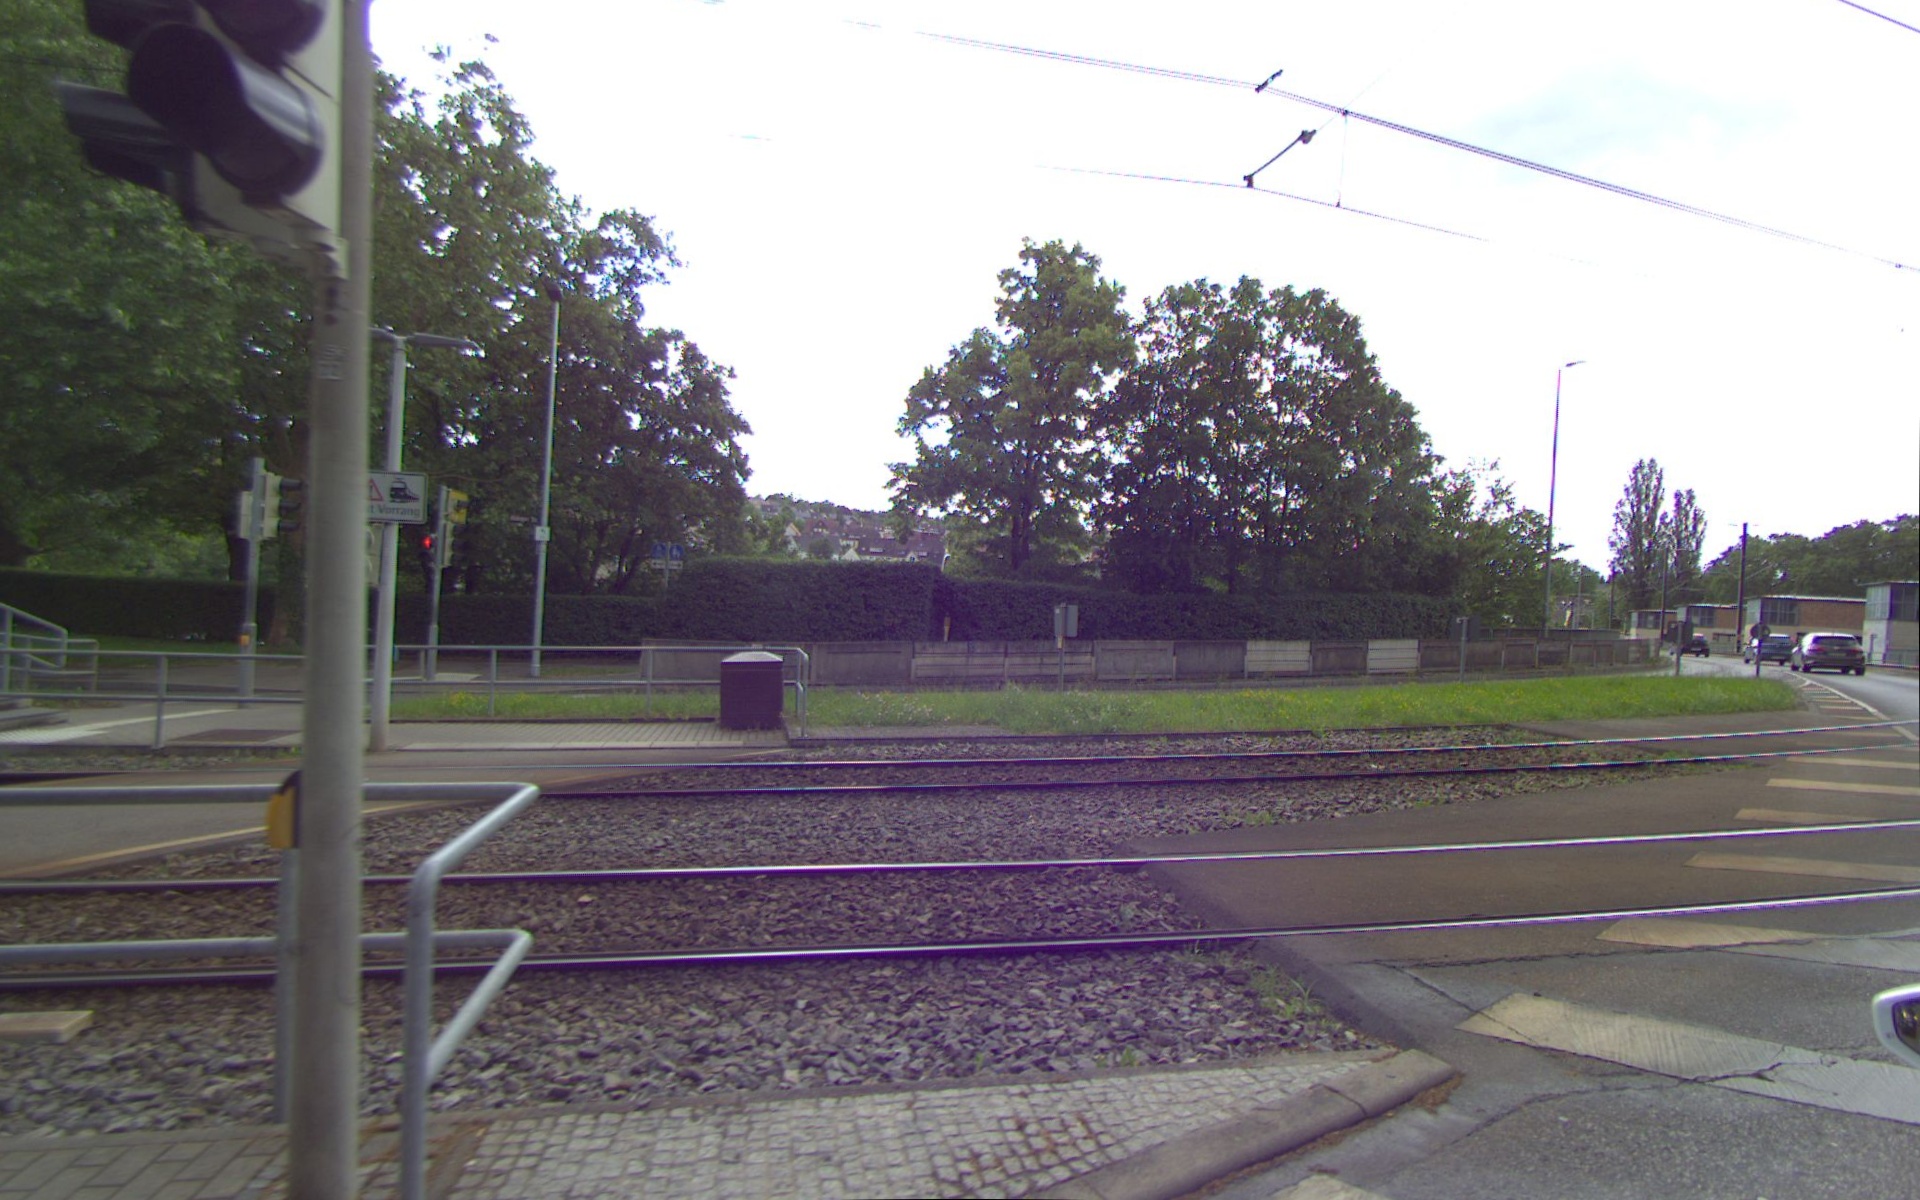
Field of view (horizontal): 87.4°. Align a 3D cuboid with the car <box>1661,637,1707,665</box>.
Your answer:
[{"bbox_3d":[47.439,3.296,65.881,1.964,1.695,4.532,1,-1,30],"label":"car"}]

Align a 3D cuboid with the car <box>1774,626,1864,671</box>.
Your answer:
[{"bbox_3d":[32.998,1.815,38.689,1.744,1.576,4.234,1,-1,28],"label":"car"}]

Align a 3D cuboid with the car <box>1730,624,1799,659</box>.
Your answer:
[{"bbox_3d":[39.748,2.015,49.751,1.965,1.585,4.987,0,-1,31],"label":"car"}]
